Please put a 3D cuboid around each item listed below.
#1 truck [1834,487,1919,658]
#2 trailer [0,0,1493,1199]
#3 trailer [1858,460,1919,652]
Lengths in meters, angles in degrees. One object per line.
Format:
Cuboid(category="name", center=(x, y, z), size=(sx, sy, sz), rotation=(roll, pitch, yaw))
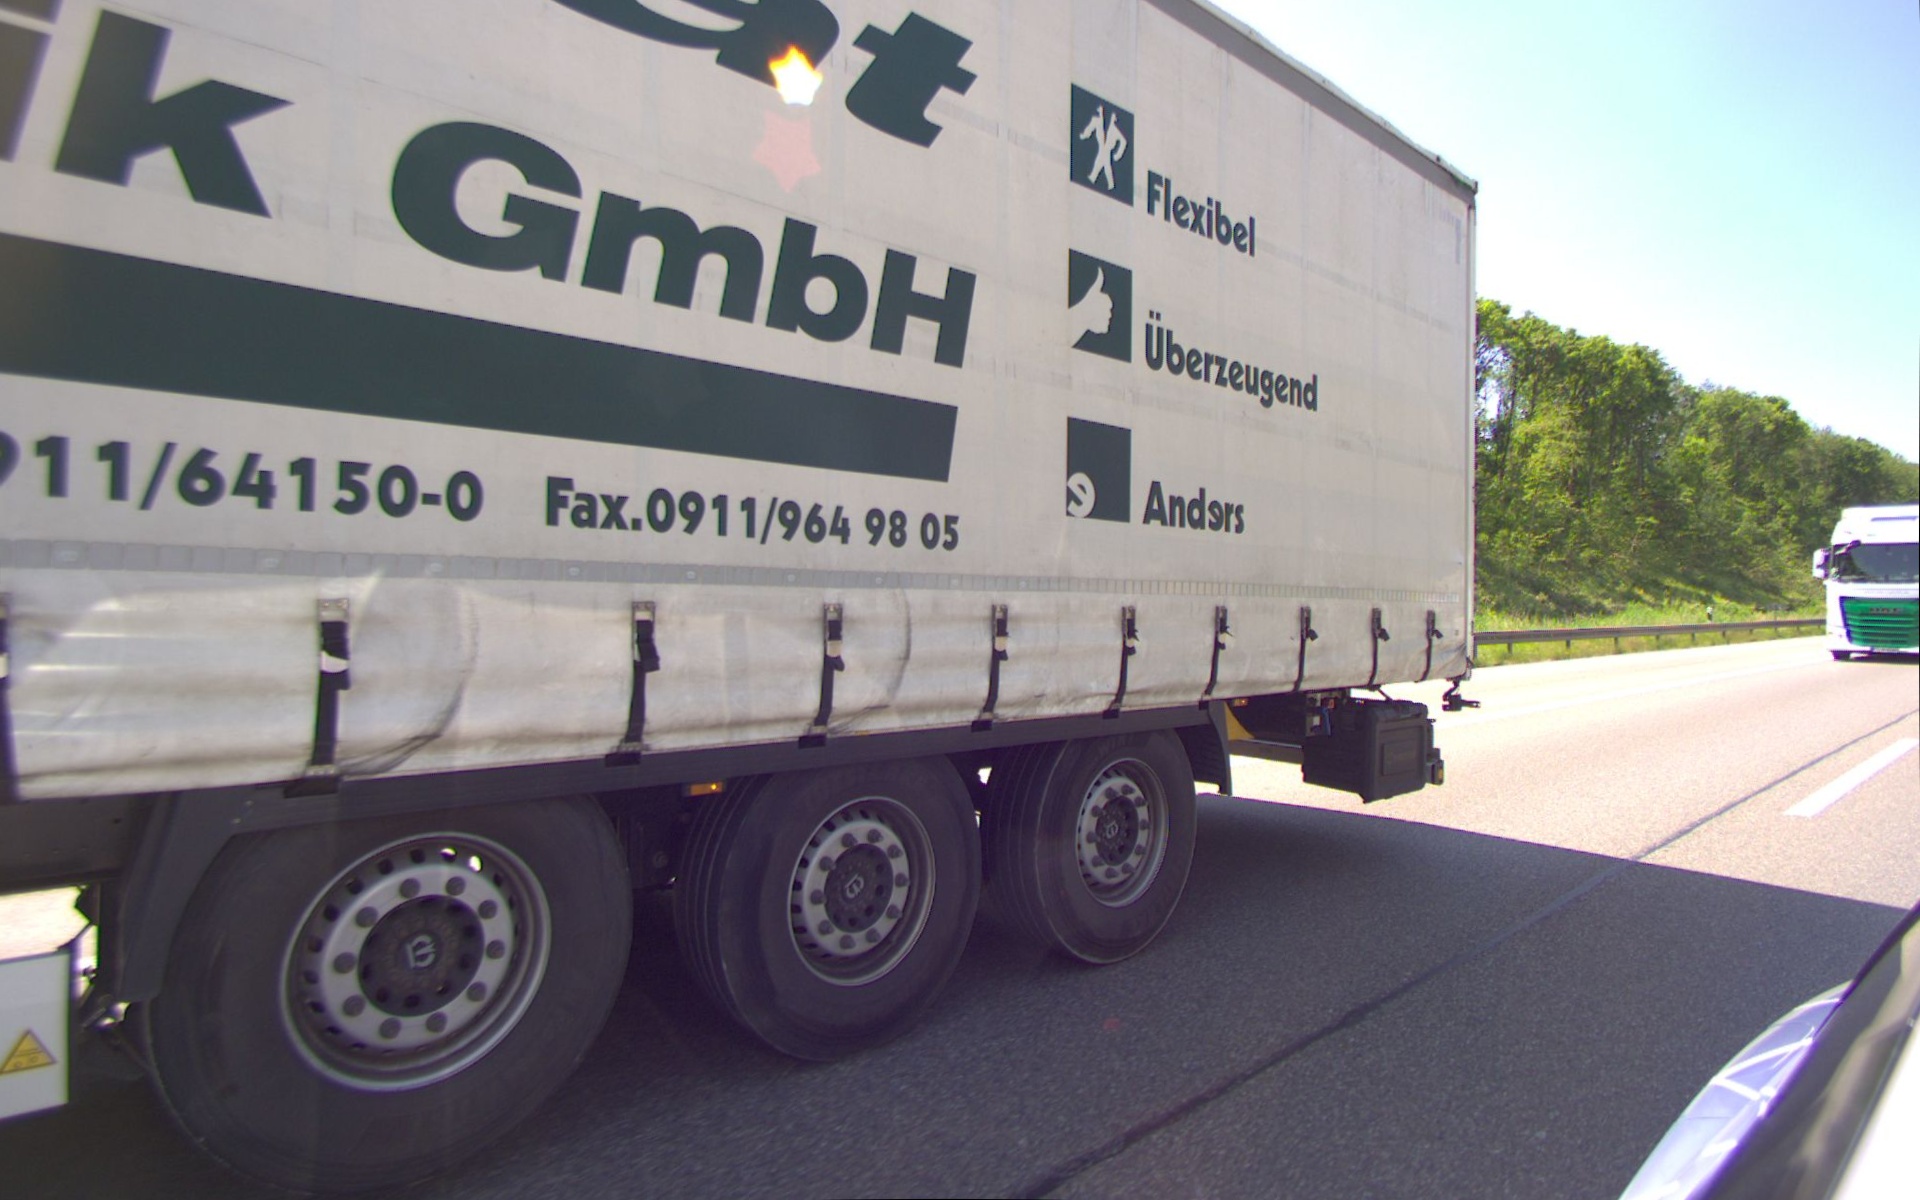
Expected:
Cuboid(category="truck", center=(25.208, -0.691, 26.531), size=(6.509, 4.080, 2.540), rotation=(-1, 1, -40))
Cuboid(category="trailer", center=(-2.760, -0.821, 2.722), size=(13.007, 4.259, 2.791), rotation=(1, -1, -40))
Cuboid(category="trailer", center=(31.276, -1.259, 31.671), size=(15.001, 5.103, 2.573), rotation=(-1, 1, -40))
